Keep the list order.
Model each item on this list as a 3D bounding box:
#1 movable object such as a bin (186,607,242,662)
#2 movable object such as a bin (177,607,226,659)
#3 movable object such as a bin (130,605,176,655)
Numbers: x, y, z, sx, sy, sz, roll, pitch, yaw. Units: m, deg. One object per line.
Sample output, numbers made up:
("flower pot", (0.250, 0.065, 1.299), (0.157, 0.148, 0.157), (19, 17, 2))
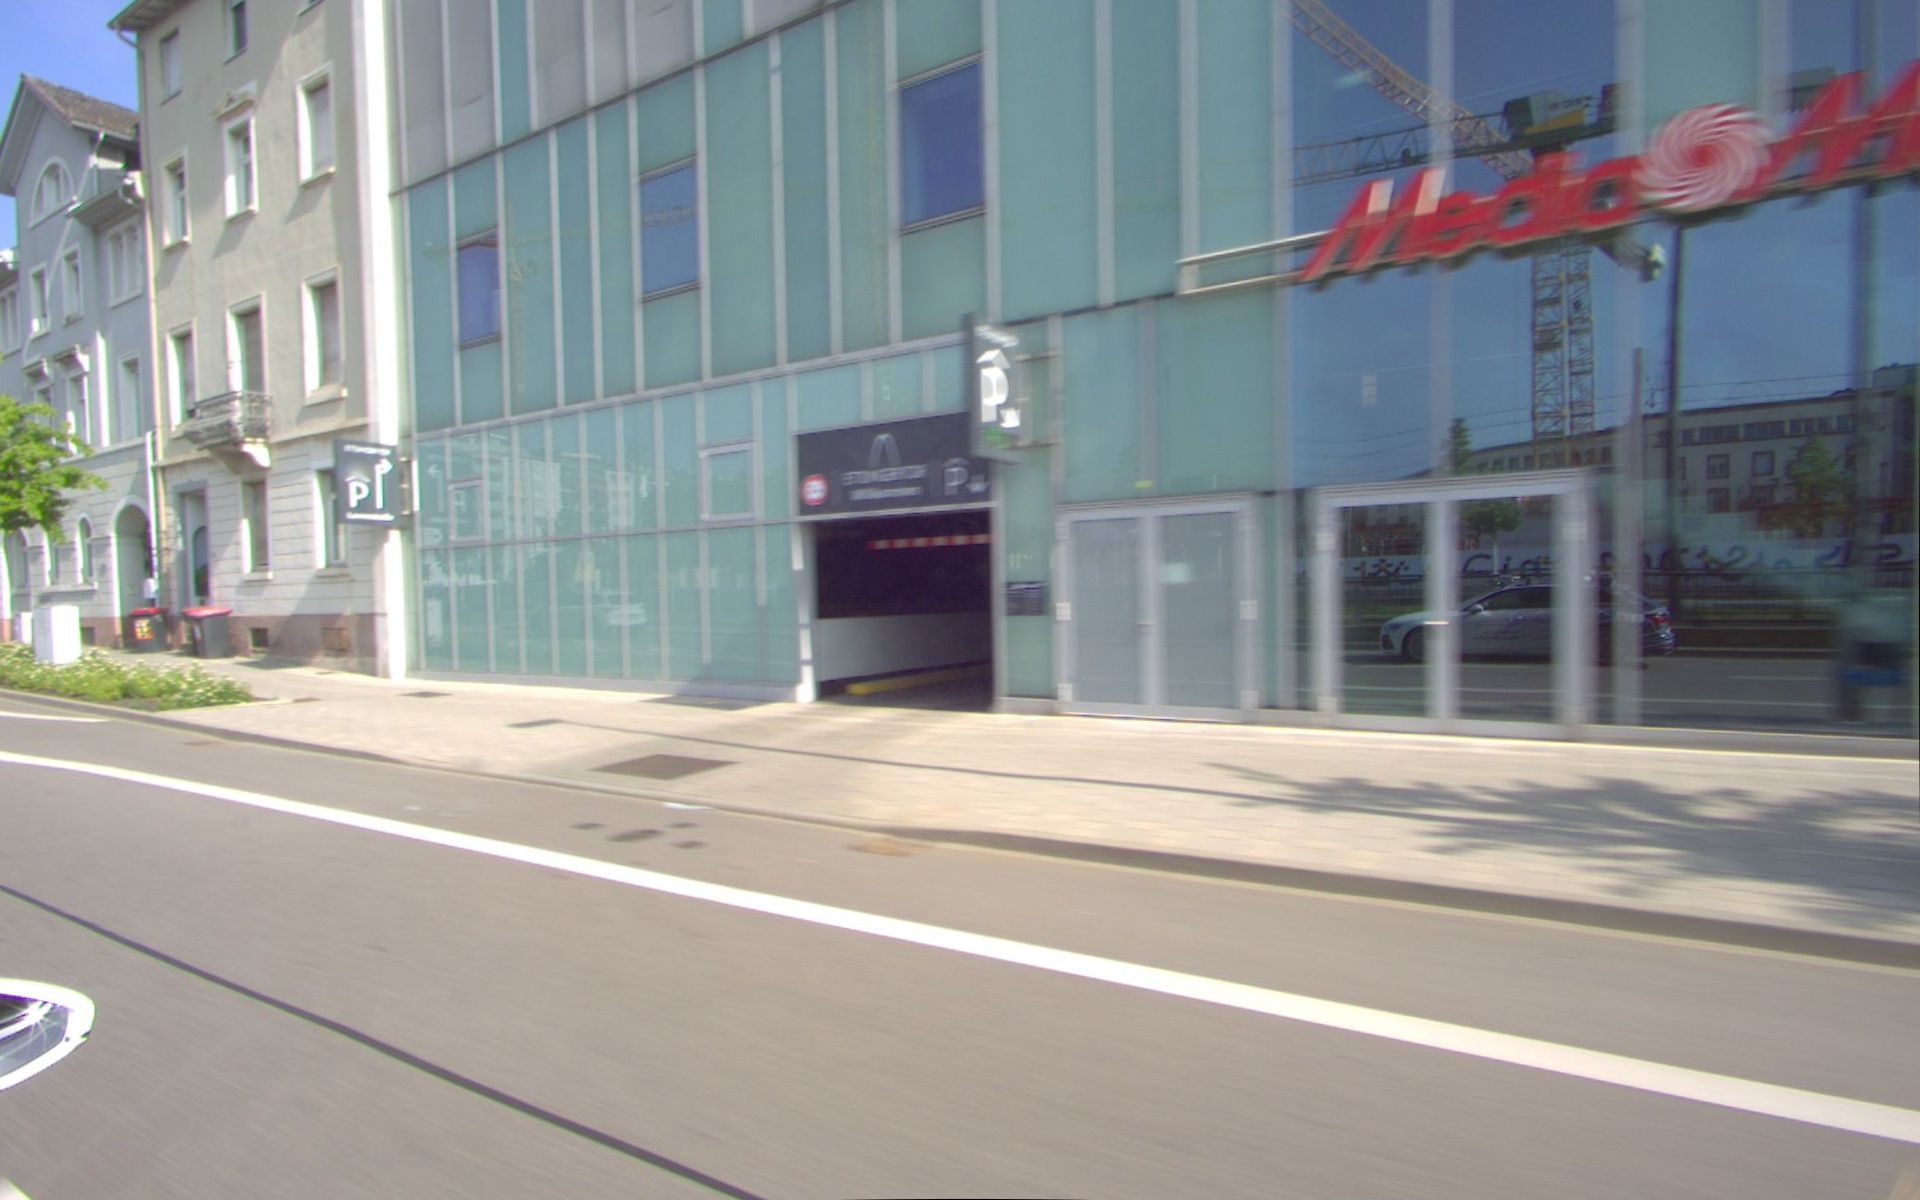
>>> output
("movable object such as a bin", (-16.736, 0.763, 22.480), (0.796, 1.188, 0.780), (2, 2, 32))
("movable object such as a bin", (-17.486, 0.747, 23.084), (0.661, 1.168, 0.703), (2, 2, 32))
("movable object such as a bin", (-19.574, 0.720, 24.303), (0.606, 1.168, 0.670), (1, 2, -11))
